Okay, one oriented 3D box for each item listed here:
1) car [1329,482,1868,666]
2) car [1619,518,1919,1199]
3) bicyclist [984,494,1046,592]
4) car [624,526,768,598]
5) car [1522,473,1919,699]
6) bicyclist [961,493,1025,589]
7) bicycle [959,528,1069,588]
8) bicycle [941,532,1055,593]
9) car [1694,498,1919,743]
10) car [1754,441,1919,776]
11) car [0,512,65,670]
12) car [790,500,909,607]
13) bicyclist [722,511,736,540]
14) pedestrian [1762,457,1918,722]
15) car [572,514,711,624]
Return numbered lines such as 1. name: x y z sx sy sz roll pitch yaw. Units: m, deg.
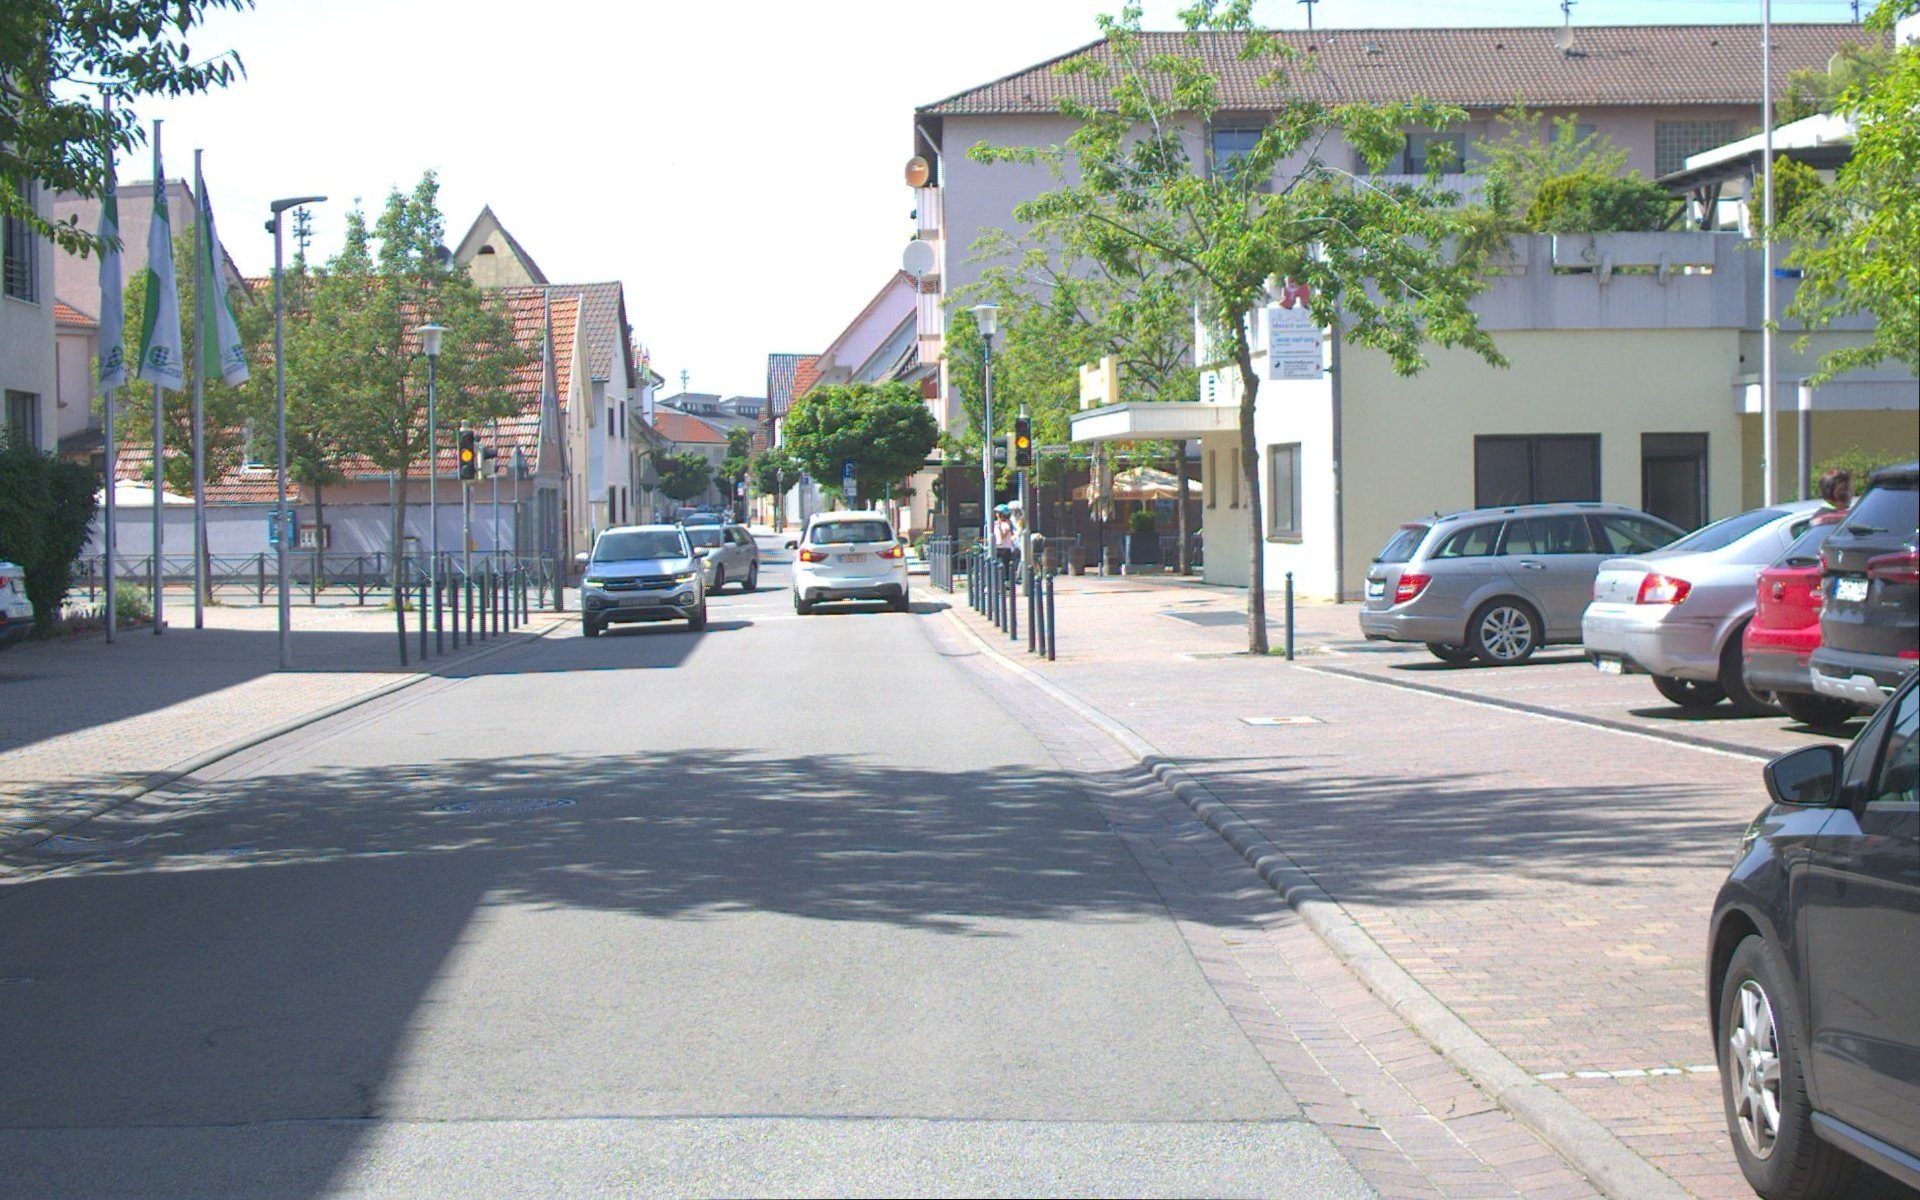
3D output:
1. car: 5.975 -0.257 32.435 4.574 1.507 1.917 -2 1 -8
2. car: 2.573 0.568 6.337 1.703 1.476 3.922 -3 1 -3
3. bicyclist: 0.955 -0.989 59.374 0.759 1.658 0.670 -3 2 -41
4. car: -5.544 -0.822 72.761 1.881 1.459 4.434 0 1 12
5. car: 6.443 -0.158 24.183 4.534 1.435 1.840 -2 1 -8
6. bicyclist: 0.558 -1.001 57.928 0.759 1.576 0.671 -4 2 -38
7. bicycle: 0.933 -0.725 59.385 1.891 0.954 0.676 -4 2 -40
8. bicycle: 0.644 -0.636 58.009 1.890 0.954 0.676 -4 2 -38
9. car: 6.749 0.061 21.707 3.728 1.447 1.745 -2 1 -8
10. car: 7.092 -0.058 19.380 4.630 1.765 2.148 -2 1 -3
11. car: -11.547 -0.137 34.745 4.506 1.549 2.148 1 1 -4
12. car: -1.777 -0.755 55.594 1.834 1.646 4.000 -1 1 -2
13. bicyclist: -11.764 -3.799 175.126 0.673 1.477 0.770 -1 1 -3
14. pedestrian: 5.838 -0.075 22.834 0.748 1.711 0.699 -2 1 -9
15. car: -4.710 -0.486 51.224 1.851 1.568 4.001 0 1 -2
